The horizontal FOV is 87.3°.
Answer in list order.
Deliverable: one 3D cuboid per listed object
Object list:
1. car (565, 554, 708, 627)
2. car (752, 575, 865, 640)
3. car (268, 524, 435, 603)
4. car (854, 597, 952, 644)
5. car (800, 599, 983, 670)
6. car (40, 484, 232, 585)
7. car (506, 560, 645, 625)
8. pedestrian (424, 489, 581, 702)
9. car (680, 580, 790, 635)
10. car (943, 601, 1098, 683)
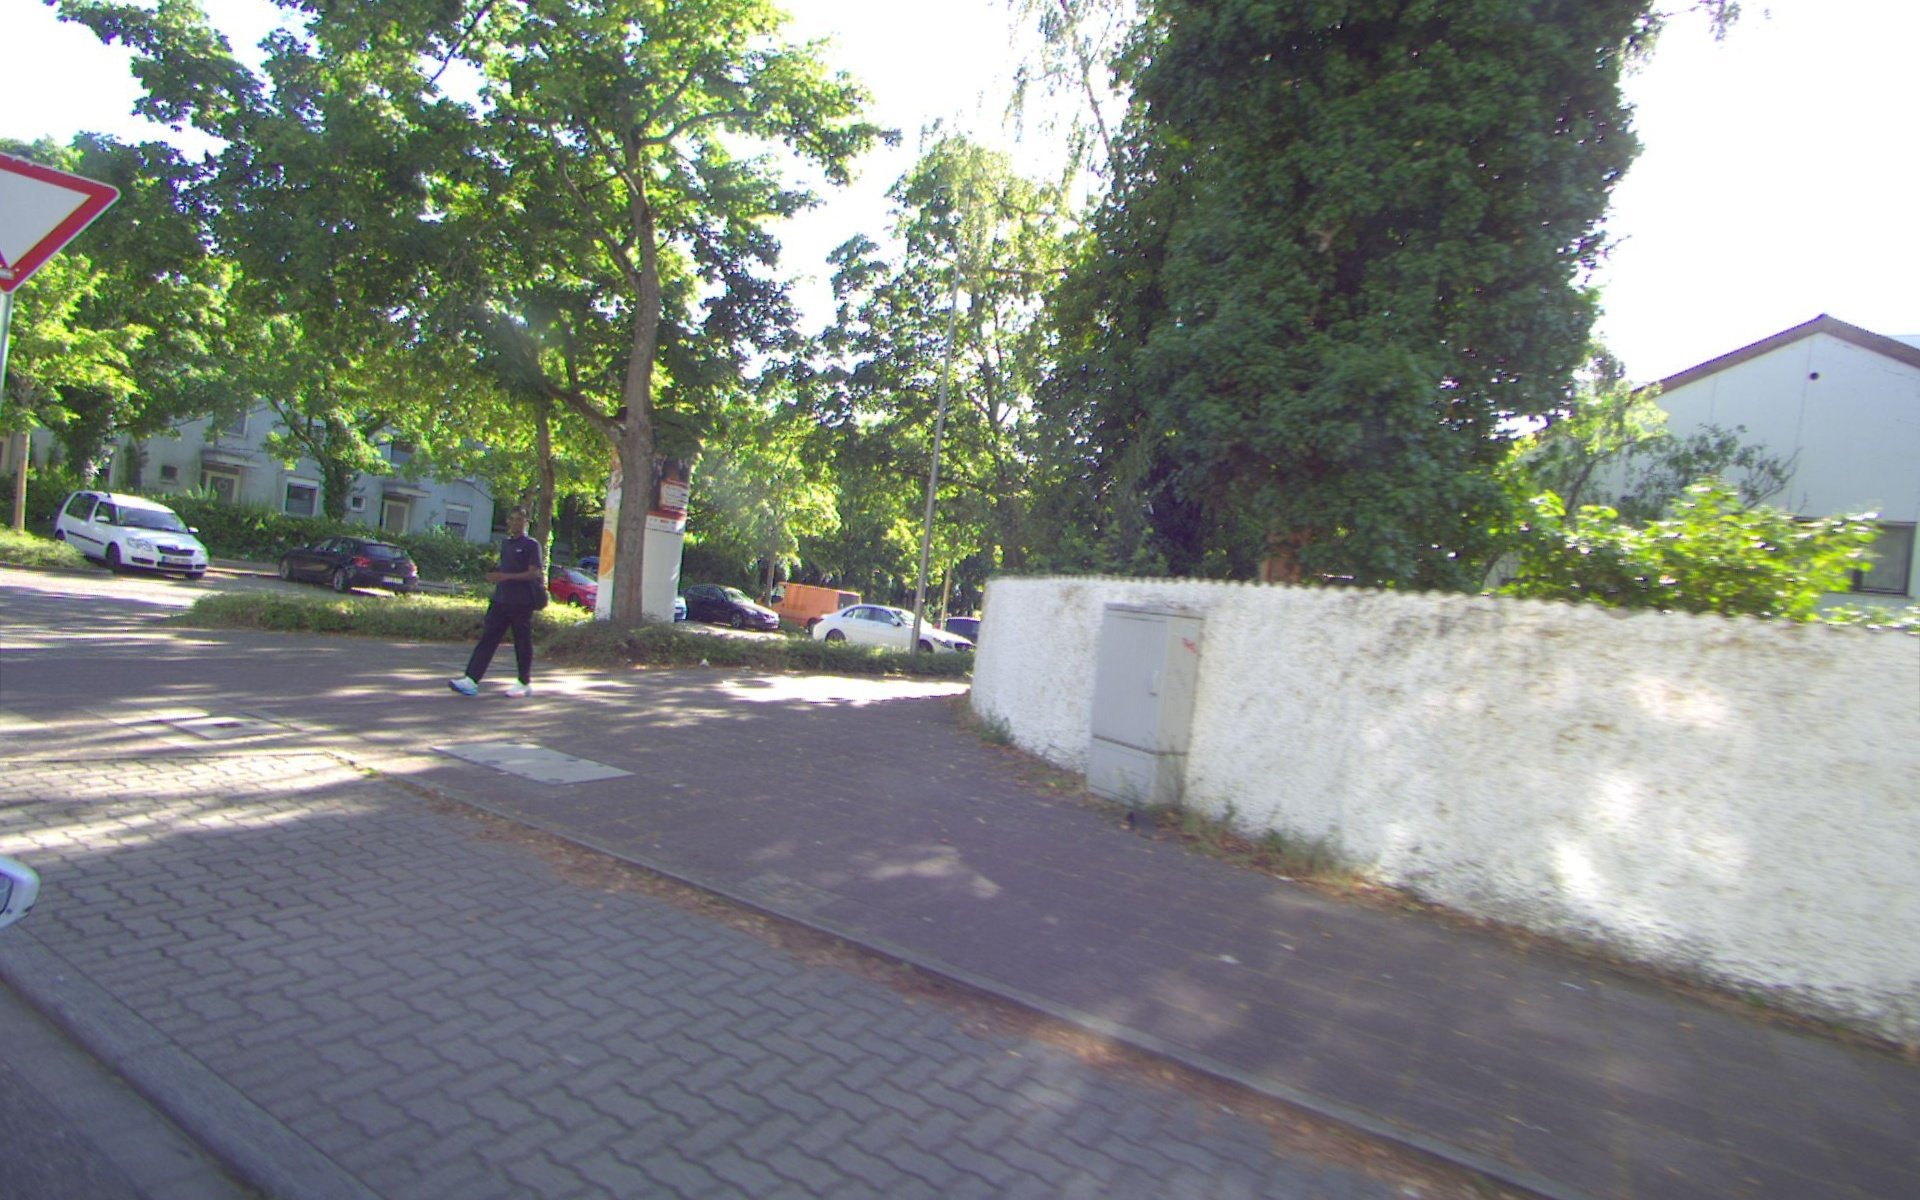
[{"bbox_3d":[-11.023,-0.338,34.179,4.584,1.794,1.826,9,1,29],"label":"car"},{"bbox_3d":[-6.369,0.306,42.272,4.187,2.057,1.971,9,1,29],"label":"car"},{"bbox_3d":[-15.850,-0.969,26.170,4.096,1.423,1.826,9,1,29],"label":"car"},{"bbox_3d":[-2.758,0.977,48.718,4.187,1.590,1.971,9,1,29],"label":"car"},{"bbox_3d":[-1.872,0.895,26.929,4.612,1.423,1.825,5,-2,32],"label":"car"},{"bbox_3d":[-18.307,-1.462,22.325,4.096,1.618,1.826,8,1,29],"label":"car"},{"bbox_3d":[-12.289,-0.251,32.139,4.096,1.423,1.826,9,1,29],"label":"car"},{"bbox_3d":[-4.049,-0.033,8.960,0.823,1.705,0.807,8,1,0],"label":"pedestrian"},{"bbox_3d":[-8.552,0.286,38.264,3.722,1.492,1.766,9,1,29],"label":"car"},{"bbox_3d":[1.989,1.391,33.512,4.557,2.014,1.998,7,-1,30],"label":"car"}]
